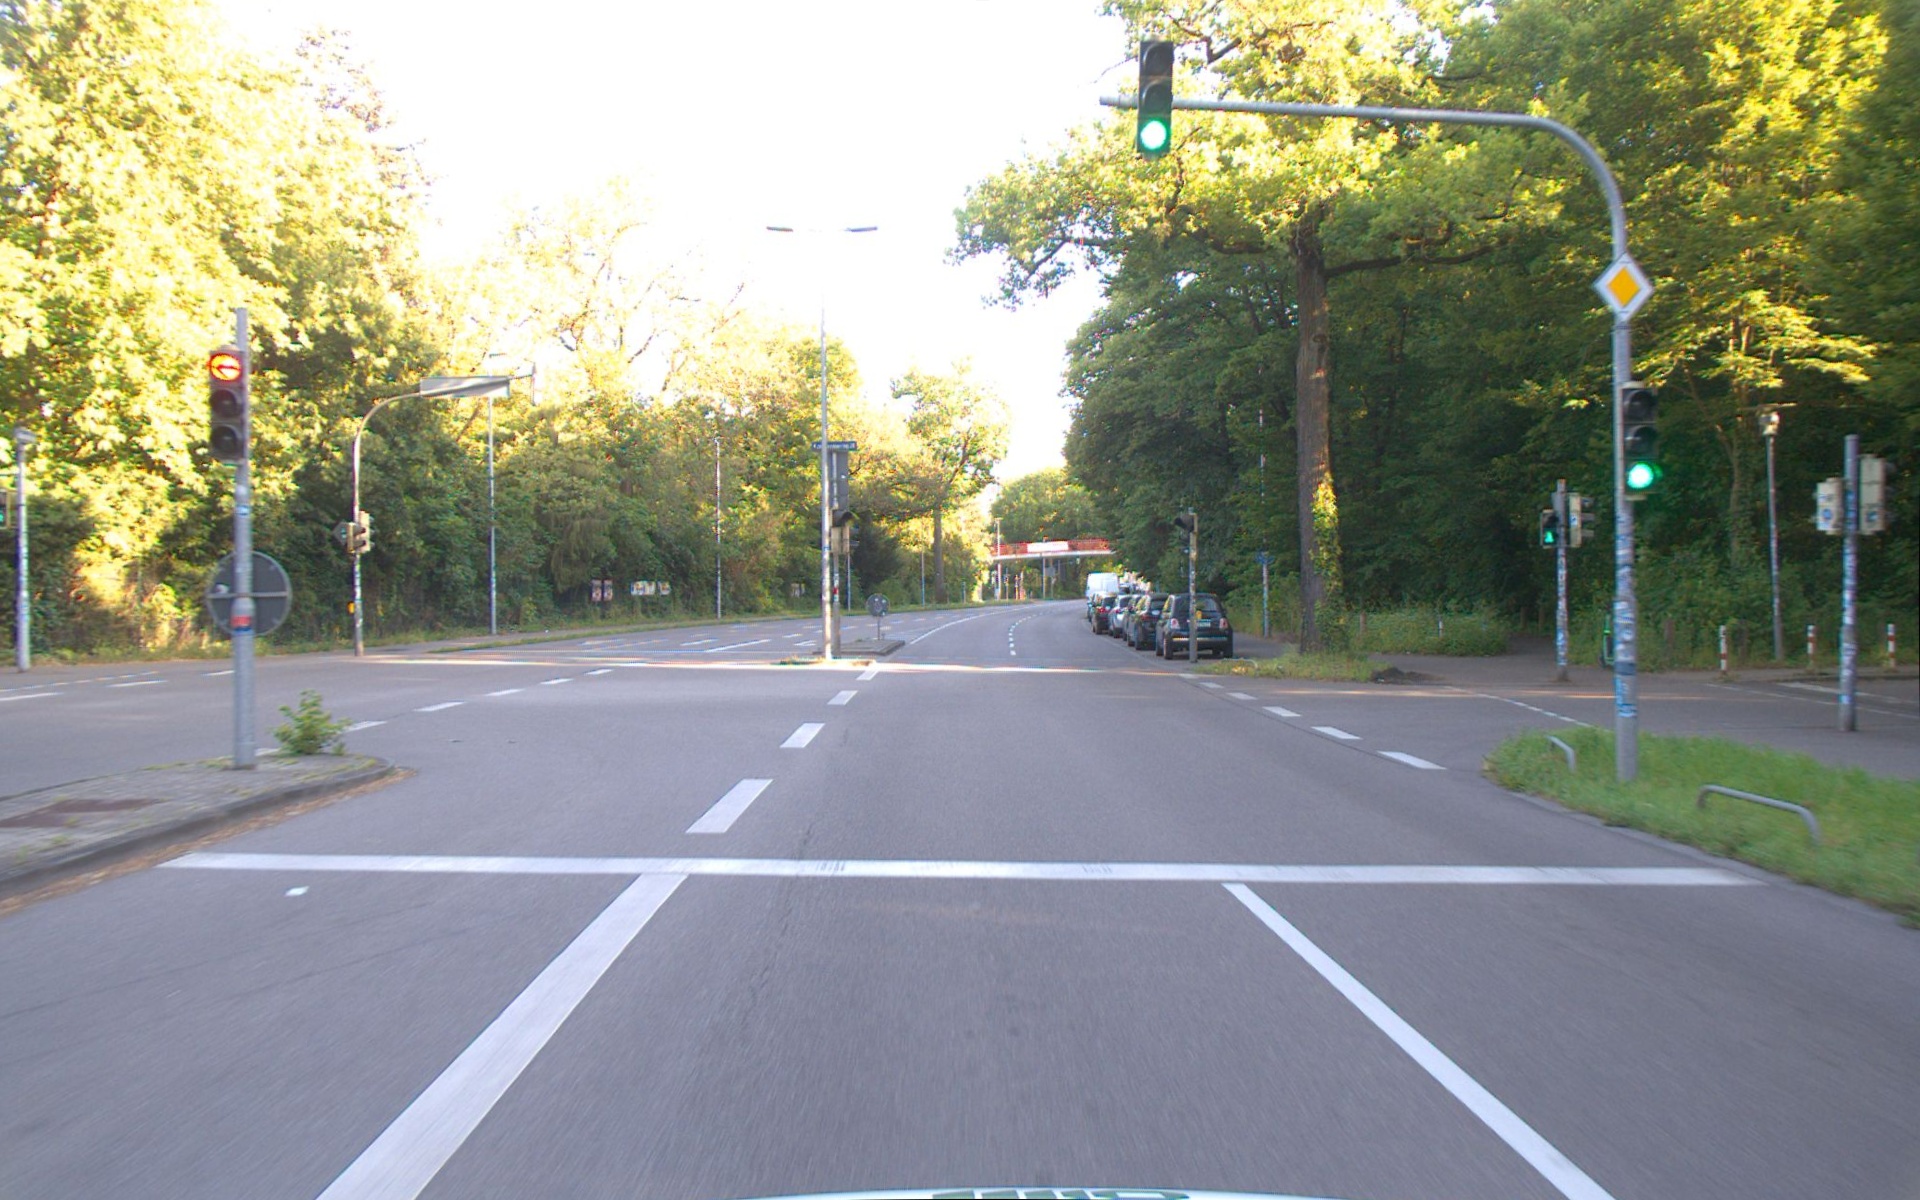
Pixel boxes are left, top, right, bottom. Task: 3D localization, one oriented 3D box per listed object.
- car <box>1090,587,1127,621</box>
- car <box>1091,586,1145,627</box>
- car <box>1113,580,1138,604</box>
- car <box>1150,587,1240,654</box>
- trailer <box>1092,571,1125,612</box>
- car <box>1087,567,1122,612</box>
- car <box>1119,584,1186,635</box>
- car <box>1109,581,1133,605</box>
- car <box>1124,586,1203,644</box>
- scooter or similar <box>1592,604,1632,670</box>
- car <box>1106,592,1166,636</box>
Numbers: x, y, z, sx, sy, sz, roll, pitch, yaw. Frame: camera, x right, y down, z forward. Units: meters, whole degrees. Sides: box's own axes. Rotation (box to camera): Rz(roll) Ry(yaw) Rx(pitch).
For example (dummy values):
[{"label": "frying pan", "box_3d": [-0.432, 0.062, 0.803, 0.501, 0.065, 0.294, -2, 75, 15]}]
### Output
[{"label": "car", "box_3d": [7.005, 0.183, 78.057, 1.642, 1.489, 3.691, -1, 0, 4]}, {"label": "car", "box_3d": [5.870, 0.242, 61.852, 1.682, 1.436, 4.488, -1, 0, 1]}, {"label": "car", "box_3d": [14.375, -0.671, 143.215, 1.829, 2.016, 5.479, -1, 0, 8]}, {"label": "car", "box_3d": [5.594, 0.465, 39.699, 1.682, 1.494, 3.757, -1, 0, 1]}, {"label": "trailer", "box_3d": [9.226, -0.509, 102.375, 1.864, 2.466, 5.130, -1, 0, 6]}, {"label": "car", "box_3d": [8.385, -0.583, 95.637, 1.864, 2.466, 5.580, -1, 0, 6]}, {"label": "car", "box_3d": [5.980, 0.285, 51.697, 1.682, 1.494, 4.203, -1, 0, 1]}, {"label": "car", "box_3d": [12.720, -0.560, 130.661, 1.721, 1.835, 4.741, -1, 0, 7]}, {"label": "car", "box_3d": [5.613, 0.392, 46.130, 1.682, 1.494, 4.988, -1, 0, 1]}, {"label": "scooter or similar", "box_3d": [11.851, 0.663, 30.095, 0.370, 1.164, 1.224, 0, 0, 6]}, {"label": "car", "box_3d": [6.023, 0.460, 56.901, 1.682, 1.436, 4.125, -1, 0, 1]}]
